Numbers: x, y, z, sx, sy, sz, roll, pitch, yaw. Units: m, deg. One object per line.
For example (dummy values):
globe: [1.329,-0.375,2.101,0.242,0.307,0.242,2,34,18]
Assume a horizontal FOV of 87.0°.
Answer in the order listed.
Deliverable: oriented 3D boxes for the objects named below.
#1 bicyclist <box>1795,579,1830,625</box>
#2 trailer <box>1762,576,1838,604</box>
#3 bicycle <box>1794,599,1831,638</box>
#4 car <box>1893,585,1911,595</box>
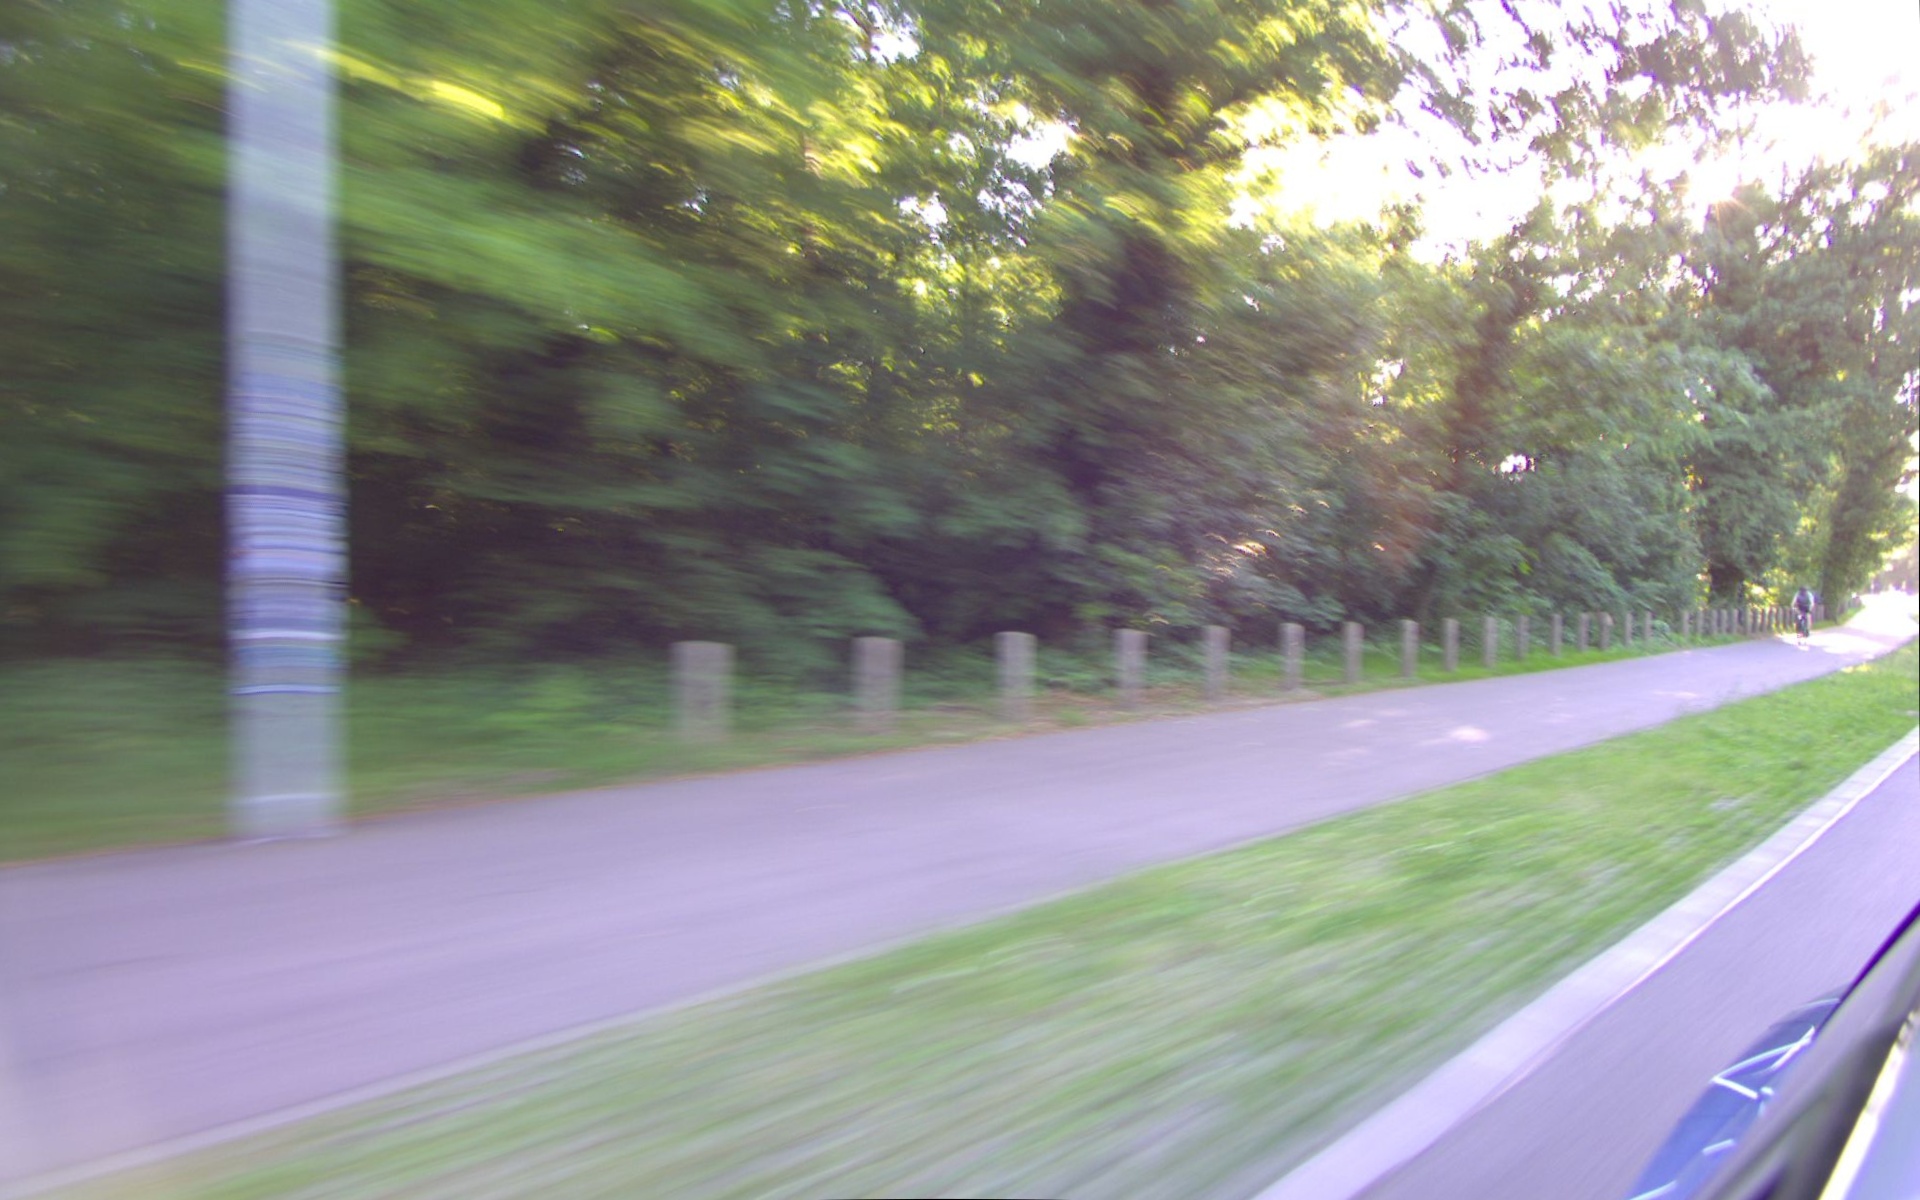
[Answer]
bicyclist: [24.966,0.044,29.621,0.712,1.305,1.087,1,1,44]
trailer: [64.072,-0.800,77.305,1.960,2.046,4.233,1,2,-6]
bicycle: [24.969,0.519,29.629,0.712,1.069,2.021,1,1,43]
car: [163.448,-1.703,175.654,1.817,1.705,3.946,2,2,37]
